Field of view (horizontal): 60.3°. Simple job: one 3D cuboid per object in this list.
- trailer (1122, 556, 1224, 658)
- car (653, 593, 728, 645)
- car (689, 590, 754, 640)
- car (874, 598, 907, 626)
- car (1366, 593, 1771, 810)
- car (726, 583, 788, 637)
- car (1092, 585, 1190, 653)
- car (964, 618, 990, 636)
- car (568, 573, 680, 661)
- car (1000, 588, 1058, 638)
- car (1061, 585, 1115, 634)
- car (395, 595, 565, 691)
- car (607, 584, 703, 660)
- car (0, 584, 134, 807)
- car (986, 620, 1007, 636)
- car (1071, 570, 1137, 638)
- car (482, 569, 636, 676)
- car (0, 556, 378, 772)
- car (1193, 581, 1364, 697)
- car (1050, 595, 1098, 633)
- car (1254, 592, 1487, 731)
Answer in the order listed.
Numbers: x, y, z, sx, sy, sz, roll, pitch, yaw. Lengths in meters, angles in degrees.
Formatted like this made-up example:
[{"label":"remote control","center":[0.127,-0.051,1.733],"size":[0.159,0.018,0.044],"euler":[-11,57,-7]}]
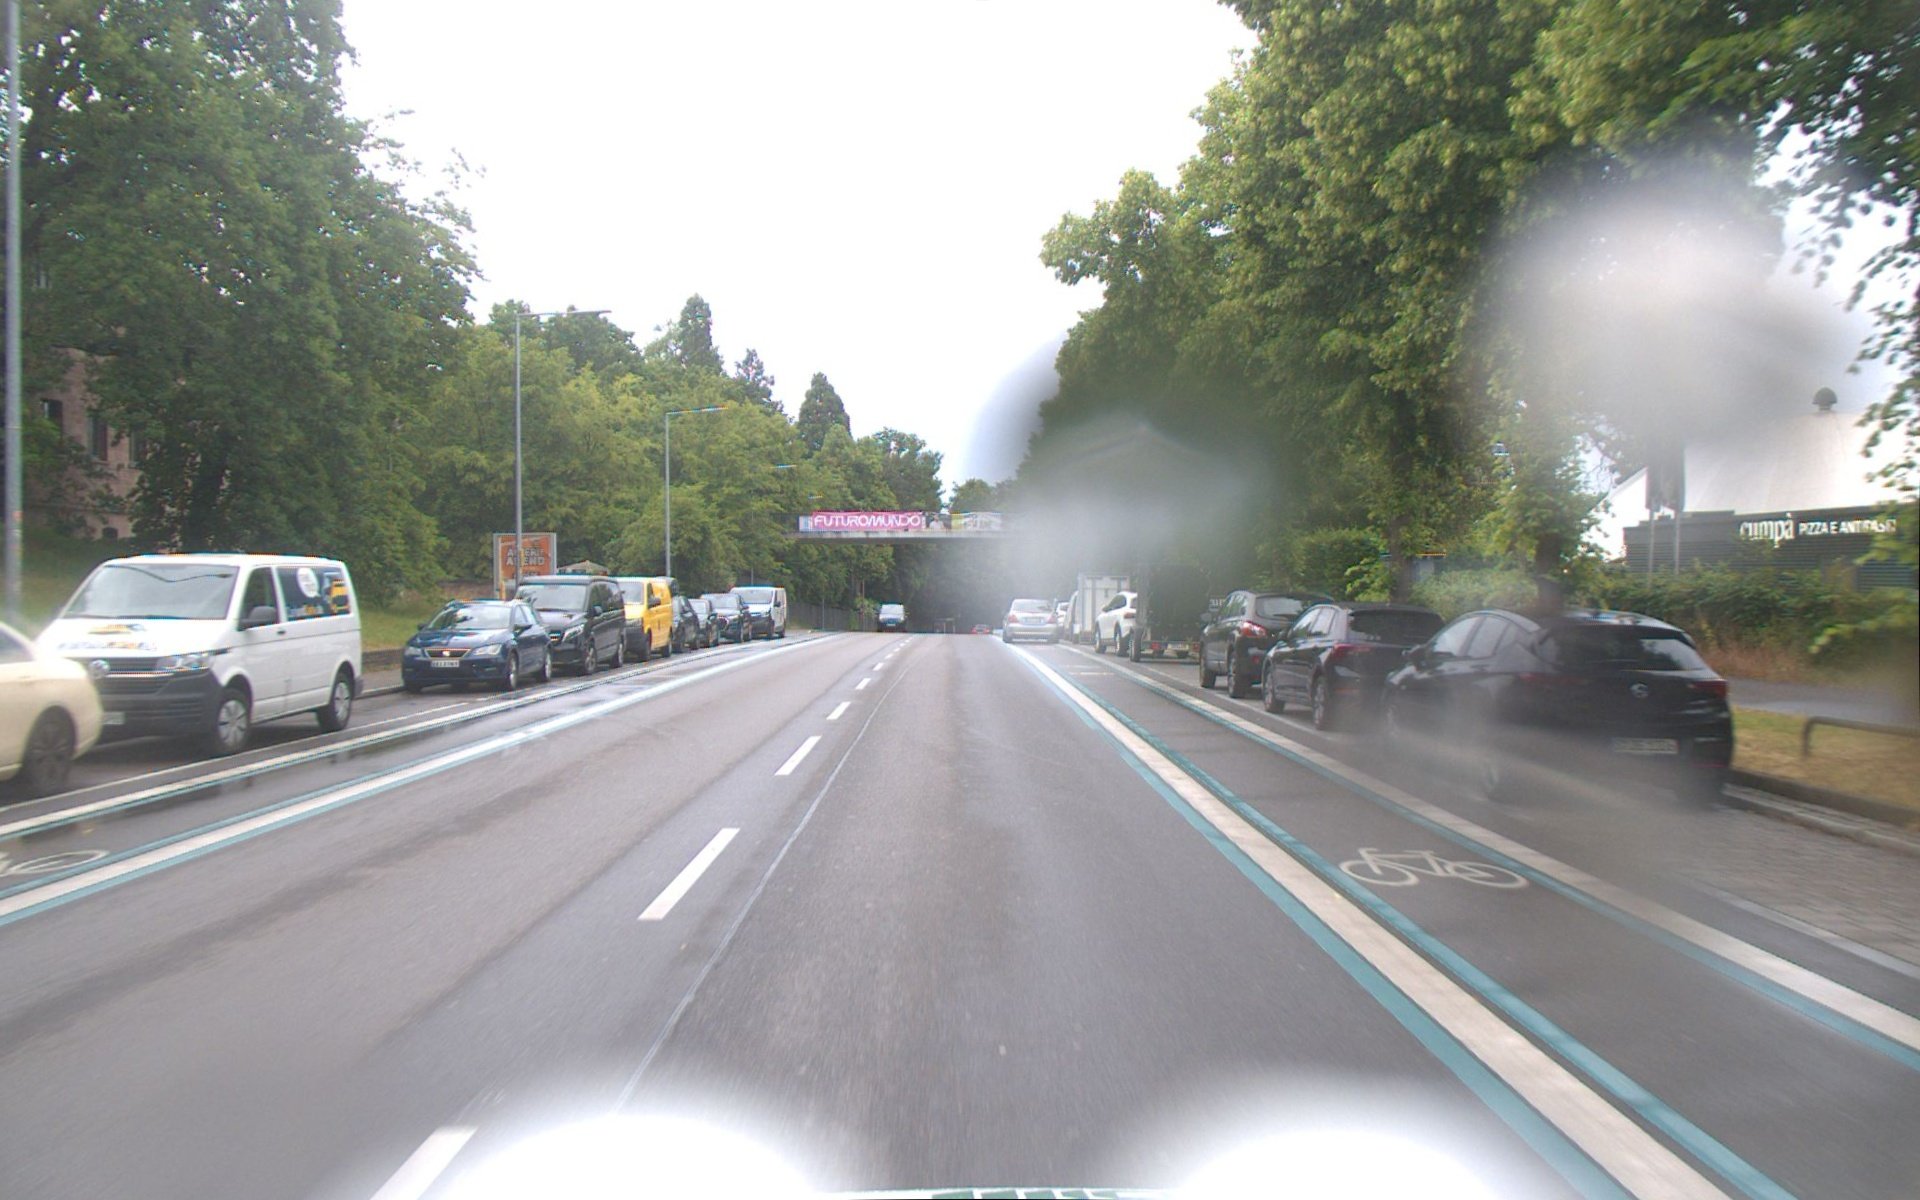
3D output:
[{"label":"trailer","center":[4.825,0.135,37.935],"size":[1.845,2.203,3.808],"euler":[0,0,0]},{"label":"car","center":[-8.189,0.548,50.491],"size":[1.848,1.476,3.980],"euler":[0,1,-3]},{"label":"car","center":[-8.103,0.489,56.411],"size":[1.833,1.569,4.052],"euler":[0,1,-3]},{"label":"car","center":[-4.028,0.681,95.080],"size":[1.832,1.499,4.052],"euler":[-1,0,-3]},{"label":"car","center":[4.882,0.721,13.968],"size":[1.696,1.489,4.276],"euler":[1,1,-2]},{"label":"car","center":[-7.815,0.347,63.855],"size":[1.721,1.965,4.194],"euler":[0,1,2]},{"label":"car","center":[4.550,0.442,42.047],"size":[1.697,1.611,4.150],"euler":[0,0,-5]},{"label":"car","center":[1.568,2.449,150.347],"size":[2.095,1.518,4.501],"euler":[0,1,4]},{"label":"car","center":[-8.016,0.344,39.910],"size":[1.845,1.979,4.825],"euler":[0,1,-2]},{"label":"car","center":[2.260,0.400,55.030],"size":[1.696,1.611,4.036],"euler":[0,0,-1]},{"label":"car","center":[4.602,0.326,59.945],"size":[1.695,1.713,4.045],"euler":[0,0,1]},{"label":"car","center":[-8.065,0.667,28.188],"size":[1.696,1.414,4.369],"euler":[0,1,-1]},{"label":"car","center":[-8.236,0.544,44.989],"size":[1.950,1.926,4.054],"euler":[0,1,-1]},{"label":"car","center":[-8.008,0.705,11.528],"size":[1.949,1.633,4.985],"euler":[0,1,1]},{"label":"car","center":[4.123,3.143,185.809],"size":[1.948,1.633,4.058],"euler":[0,0,7]},{"label":"car","center":[4.711,0.108,54.581],"size":[1.850,2.164,4.045],"euler":[0,0,1]},{"label":"car","center":[-8.044,0.377,33.649],"size":[1.950,1.980,5.141],"euler":[0,1,-1]},{"label":"car","center":[-7.948,0.533,17.554],"size":[1.874,1.965,4.927],"euler":[0,1,-1]},{"label":"car","center":[4.848,0.547,25.736],"size":[1.696,1.611,4.153],"euler":[1,0,-2]},{"label":"car","center":[4.563,0.539,66.639],"size":[1.695,1.488,4.045],"euler":[0,0,1]},{"label":"car","center":[4.867,0.663,20.190],"size":[1.696,1.489,4.071],"euler":[-1,0,-2]}]
